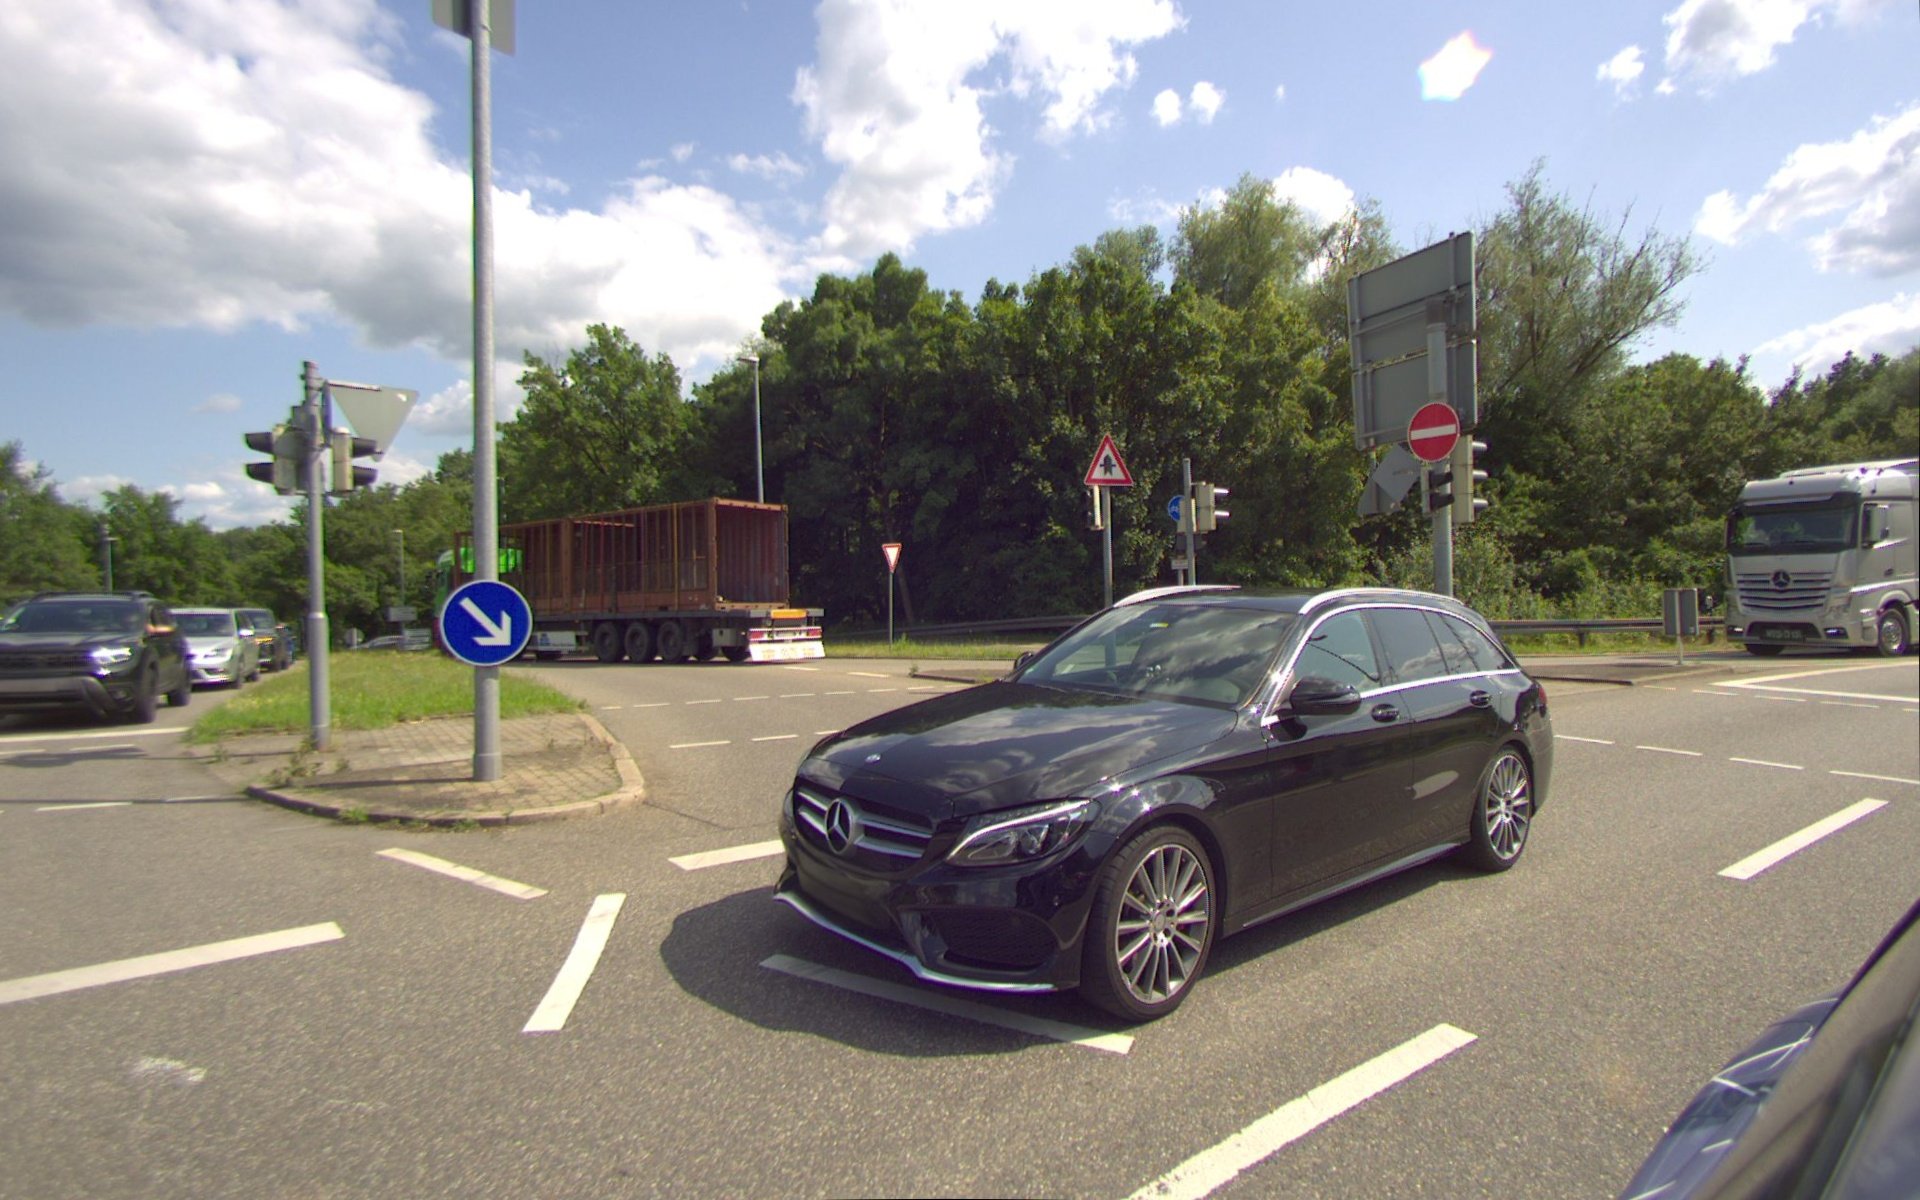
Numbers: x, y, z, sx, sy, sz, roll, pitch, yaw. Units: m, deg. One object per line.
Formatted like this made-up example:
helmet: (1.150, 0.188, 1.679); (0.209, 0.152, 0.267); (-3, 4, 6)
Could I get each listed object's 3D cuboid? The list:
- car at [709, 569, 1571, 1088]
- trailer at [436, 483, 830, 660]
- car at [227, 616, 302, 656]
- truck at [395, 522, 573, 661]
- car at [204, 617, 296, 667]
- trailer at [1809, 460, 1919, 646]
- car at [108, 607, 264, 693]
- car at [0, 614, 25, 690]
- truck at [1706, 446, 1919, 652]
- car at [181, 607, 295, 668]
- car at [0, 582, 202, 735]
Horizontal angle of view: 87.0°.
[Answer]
car: (1.167, 0.592, 4.909); (4.292, 1.453, 1.794); (-1, 1, -40)
trailer: (-9.513, -0.414, 27.656); (13.757, 3.941, 2.613); (-2, -2, 36)
car: (-25.611, 1.284, 37.383); (1.842, 1.393, 4.054); (0, -1, -28)
truck: (-15.000, -0.148, 31.749); (5.848, 3.954, 2.837); (-3, -2, 40)
car: (-21.643, 1.236, 30.992); (1.842, 1.393, 4.054); (0, -1, -28)
trailer: (25.376, -1.063, 24.286); (12.066, 3.899, 2.785); (-1, 0, -25)
car: (-14.293, 0.844, 18.932); (1.613, 1.393, 4.548); (0, -1, -28)
car: (-17.857, 0.944, 17.379); (1.613, 1.393, 4.220); (0, -1, -28)
truck: (19.606, -0.985, 21.664); (6.678, 3.894, 2.783); (-1, -1, -23)
car: (-18.066, 0.884, 25.506); (1.842, 1.393, 4.054); (0, -1, -28)
car: (-11.247, 0.667, 12.957); (1.808, 1.637, 4.299); (-2, 0, -28)
